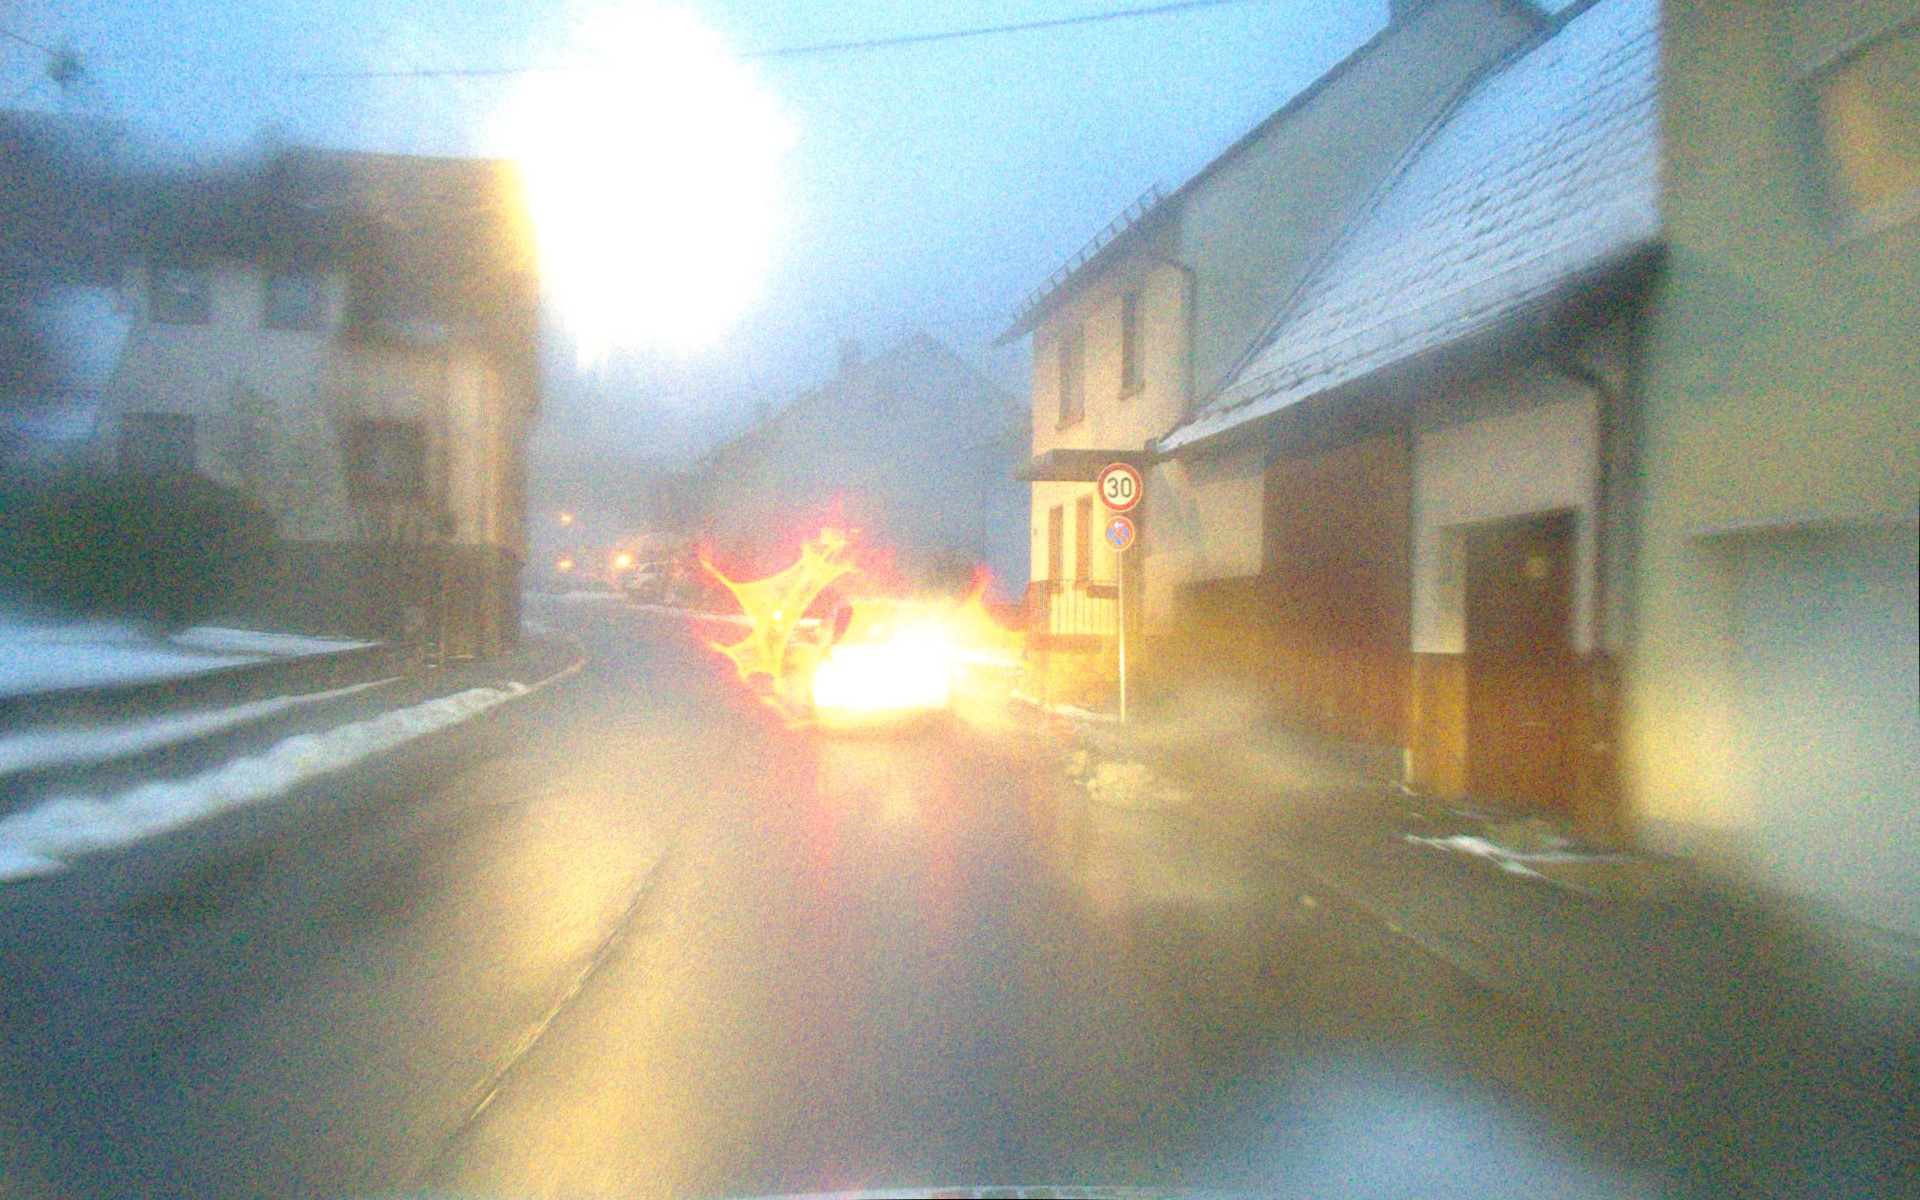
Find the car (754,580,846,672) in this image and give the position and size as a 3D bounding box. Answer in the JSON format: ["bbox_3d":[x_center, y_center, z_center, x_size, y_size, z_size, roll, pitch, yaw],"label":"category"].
[{"bbox_3d":[-3.164,0.521,32.200,1.614,1.624,3.693,2,-1,-7],"label":"car"}]

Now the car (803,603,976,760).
[{"bbox_3d":[-0.917,0.911,19.486,1.615,1.624,3.692,2,-1,-8],"label":"car"}]
